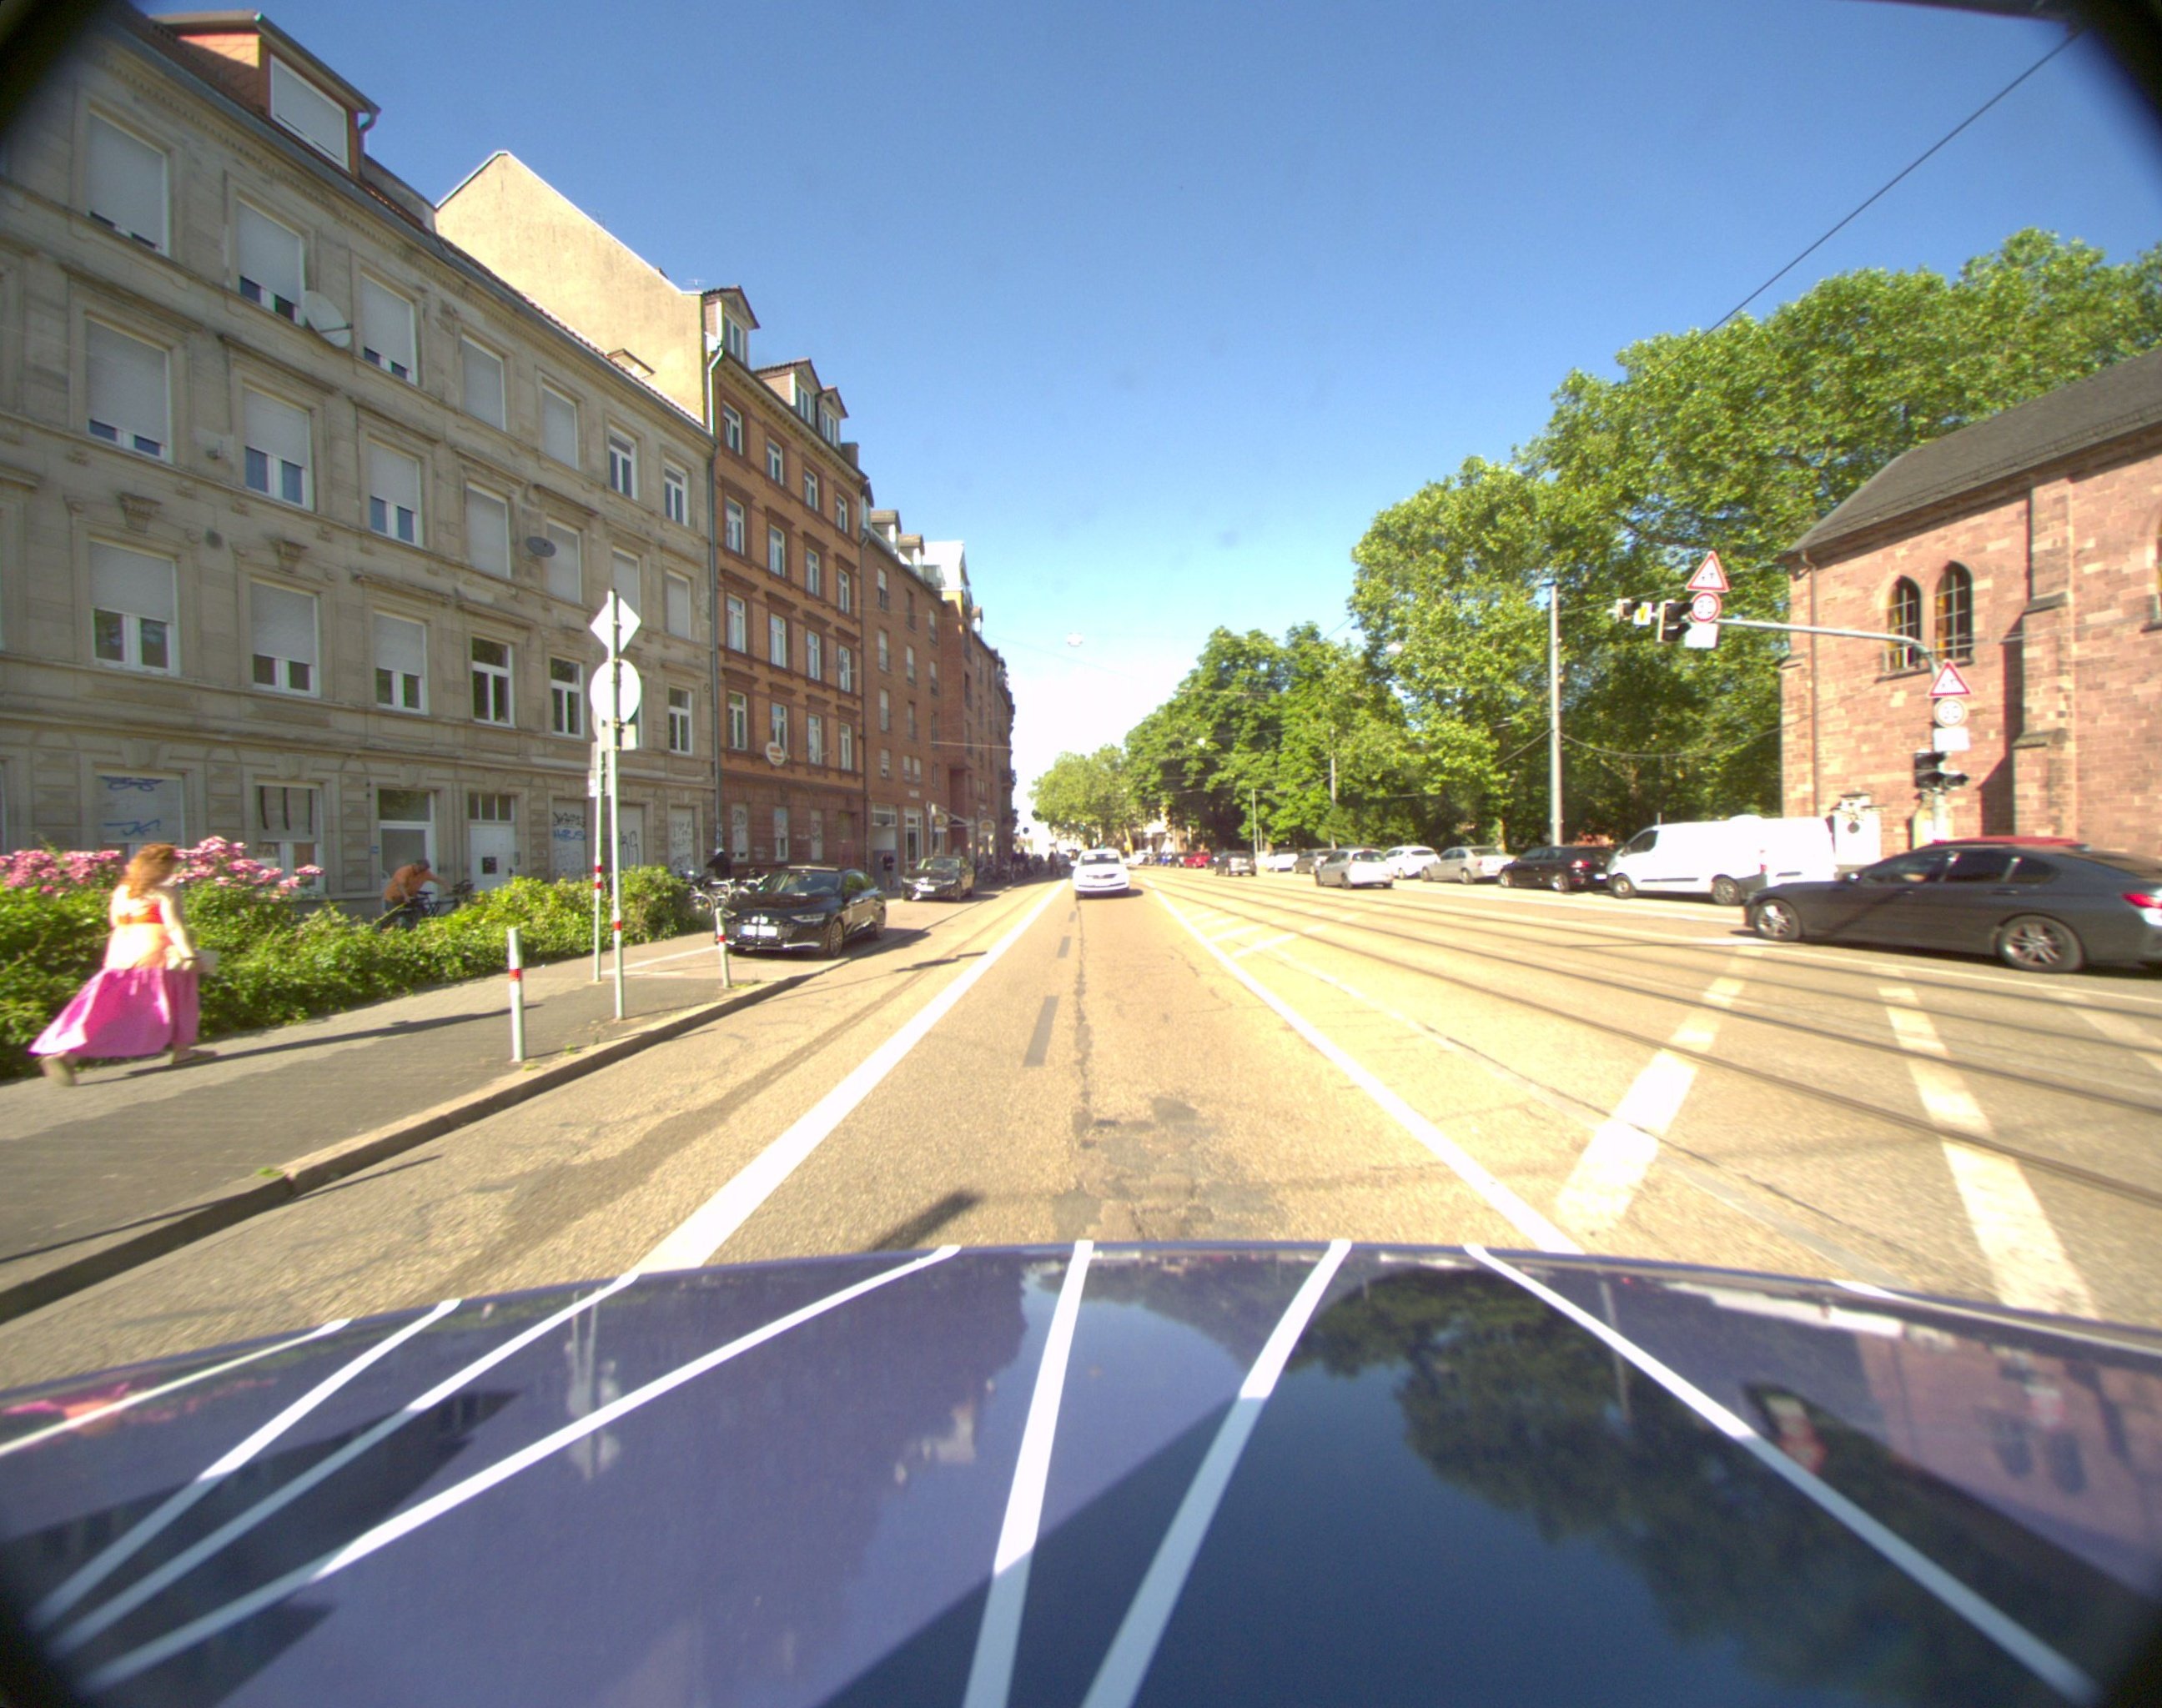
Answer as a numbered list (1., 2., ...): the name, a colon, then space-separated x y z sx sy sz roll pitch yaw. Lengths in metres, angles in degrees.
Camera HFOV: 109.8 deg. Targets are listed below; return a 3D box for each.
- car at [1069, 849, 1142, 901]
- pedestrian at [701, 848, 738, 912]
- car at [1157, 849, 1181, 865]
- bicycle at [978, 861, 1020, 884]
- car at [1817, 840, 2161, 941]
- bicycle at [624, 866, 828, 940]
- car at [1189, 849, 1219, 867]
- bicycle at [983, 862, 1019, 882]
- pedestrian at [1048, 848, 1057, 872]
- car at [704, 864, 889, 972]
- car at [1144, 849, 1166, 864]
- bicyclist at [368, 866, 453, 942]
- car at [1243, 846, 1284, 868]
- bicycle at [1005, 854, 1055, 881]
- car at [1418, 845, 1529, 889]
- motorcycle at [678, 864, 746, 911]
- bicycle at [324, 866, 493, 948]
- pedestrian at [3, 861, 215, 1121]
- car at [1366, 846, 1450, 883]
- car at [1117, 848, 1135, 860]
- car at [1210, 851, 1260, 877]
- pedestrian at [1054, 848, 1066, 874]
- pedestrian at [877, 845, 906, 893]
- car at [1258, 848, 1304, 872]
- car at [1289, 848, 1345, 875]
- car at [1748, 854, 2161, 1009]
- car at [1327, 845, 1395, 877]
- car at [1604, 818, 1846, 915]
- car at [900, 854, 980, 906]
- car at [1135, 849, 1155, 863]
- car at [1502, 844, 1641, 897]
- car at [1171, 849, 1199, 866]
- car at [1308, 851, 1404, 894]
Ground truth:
1. car: 0.962 0.665 26.549 1.800 1.626 4.397 -1 1 11
2. pedestrian: -10.673 0.763 22.464 0.822 1.851 0.703 -1 1 -13
3. car: 9.118 0.291 79.072 1.795 1.543 4.305 -1 0 -3
4. bicycle: -4.114 0.908 38.186 1.917 1.131 0.845 0 1 12
5. car: 16.205 0.560 13.821 1.795 1.543 3.858 -1 0 -3
6. bicycle: -8.748 1.111 19.713 1.969 1.408 6.827 -1 0 1
7. car: 10.925 0.310 67.776 1.795 1.543 4.305 -1 0 -3
8. bicycle: -4.198 0.933 39.870 1.801 1.053 0.655 0 1 9
9. pedestrian: -2.134 0.464 57.461 0.613 1.764 0.722 -1 1 -1
10. car: -4.684 0.969 13.170 1.683 1.475 3.999 -1 0 0
11. car: 8.137 0.255 83.516 1.795 1.543 4.305 -1 0 -3
12. bicyclist: -11.870 0.866 13.482 0.693 1.278 0.862 -1 1 0
13. car: 13.501 0.185 56.407 1.795 1.543 4.305 -1 0 -3
14. bicycle: -3.057 0.756 47.593 1.805 1.429 8.780 -1 0 5
15. car: 15.060 0.437 29.448 1.796 1.543 4.305 -1 0 -4
16. motorcycle: -10.867 0.963 22.424 1.632 1.308 0.716 -1 1 -13
17. bicycle: -11.830 0.885 13.499 0.956 1.278 2.237 -1 1 1
18. pedestrian: -6.732 0.890 5.305 0.551 1.667 0.687 -1 1 -12
19. car: 14.841 0.427 34.752 1.795 1.543 4.305 -1 0 -3
20. car: 5.788 0.003 98.494 1.795 1.543 4.305 -1 0 -3
21. car: 8.851 0.545 43.985 1.798 1.421 4.374 -1 0 -3
22. pedestrian: -1.409 0.479 51.742 0.735 1.784 0.884 -1 1 1
23. pedestrian: -8.123 0.638 32.618 0.844 2.002 1.369 -1 1 1
24. car: 13.449 0.383 51.417 1.795 1.543 4.305 -1 0 -3
25. car: 13.974 0.410 45.260 1.795 1.543 4.305 -1 0 -3
26. car: 11.146 0.743 9.409 1.798 1.421 4.374 -1 0 -3
27. car: 14.560 0.336 39.757 1.795 1.543 4.305 -1 0 -3
28. car: 15.660 0.264 18.891 1.921 2.084 4.590 -1 0 -4
29. car: -4.833 0.830 26.627 1.764 1.517 4.473 3 1 2
30. car: 7.366 0.224 87.881 1.795 1.543 4.305 -1 0 -3
31. car: 15.466 0.474 24.225 1.795 1.543 3.858 -1 0 -3
32. car: 9.877 0.339 72.512 1.795 1.543 4.305 -1 0 -3
33. car: 10.054 0.626 28.162 1.798 1.421 4.374 -1 0 -3
